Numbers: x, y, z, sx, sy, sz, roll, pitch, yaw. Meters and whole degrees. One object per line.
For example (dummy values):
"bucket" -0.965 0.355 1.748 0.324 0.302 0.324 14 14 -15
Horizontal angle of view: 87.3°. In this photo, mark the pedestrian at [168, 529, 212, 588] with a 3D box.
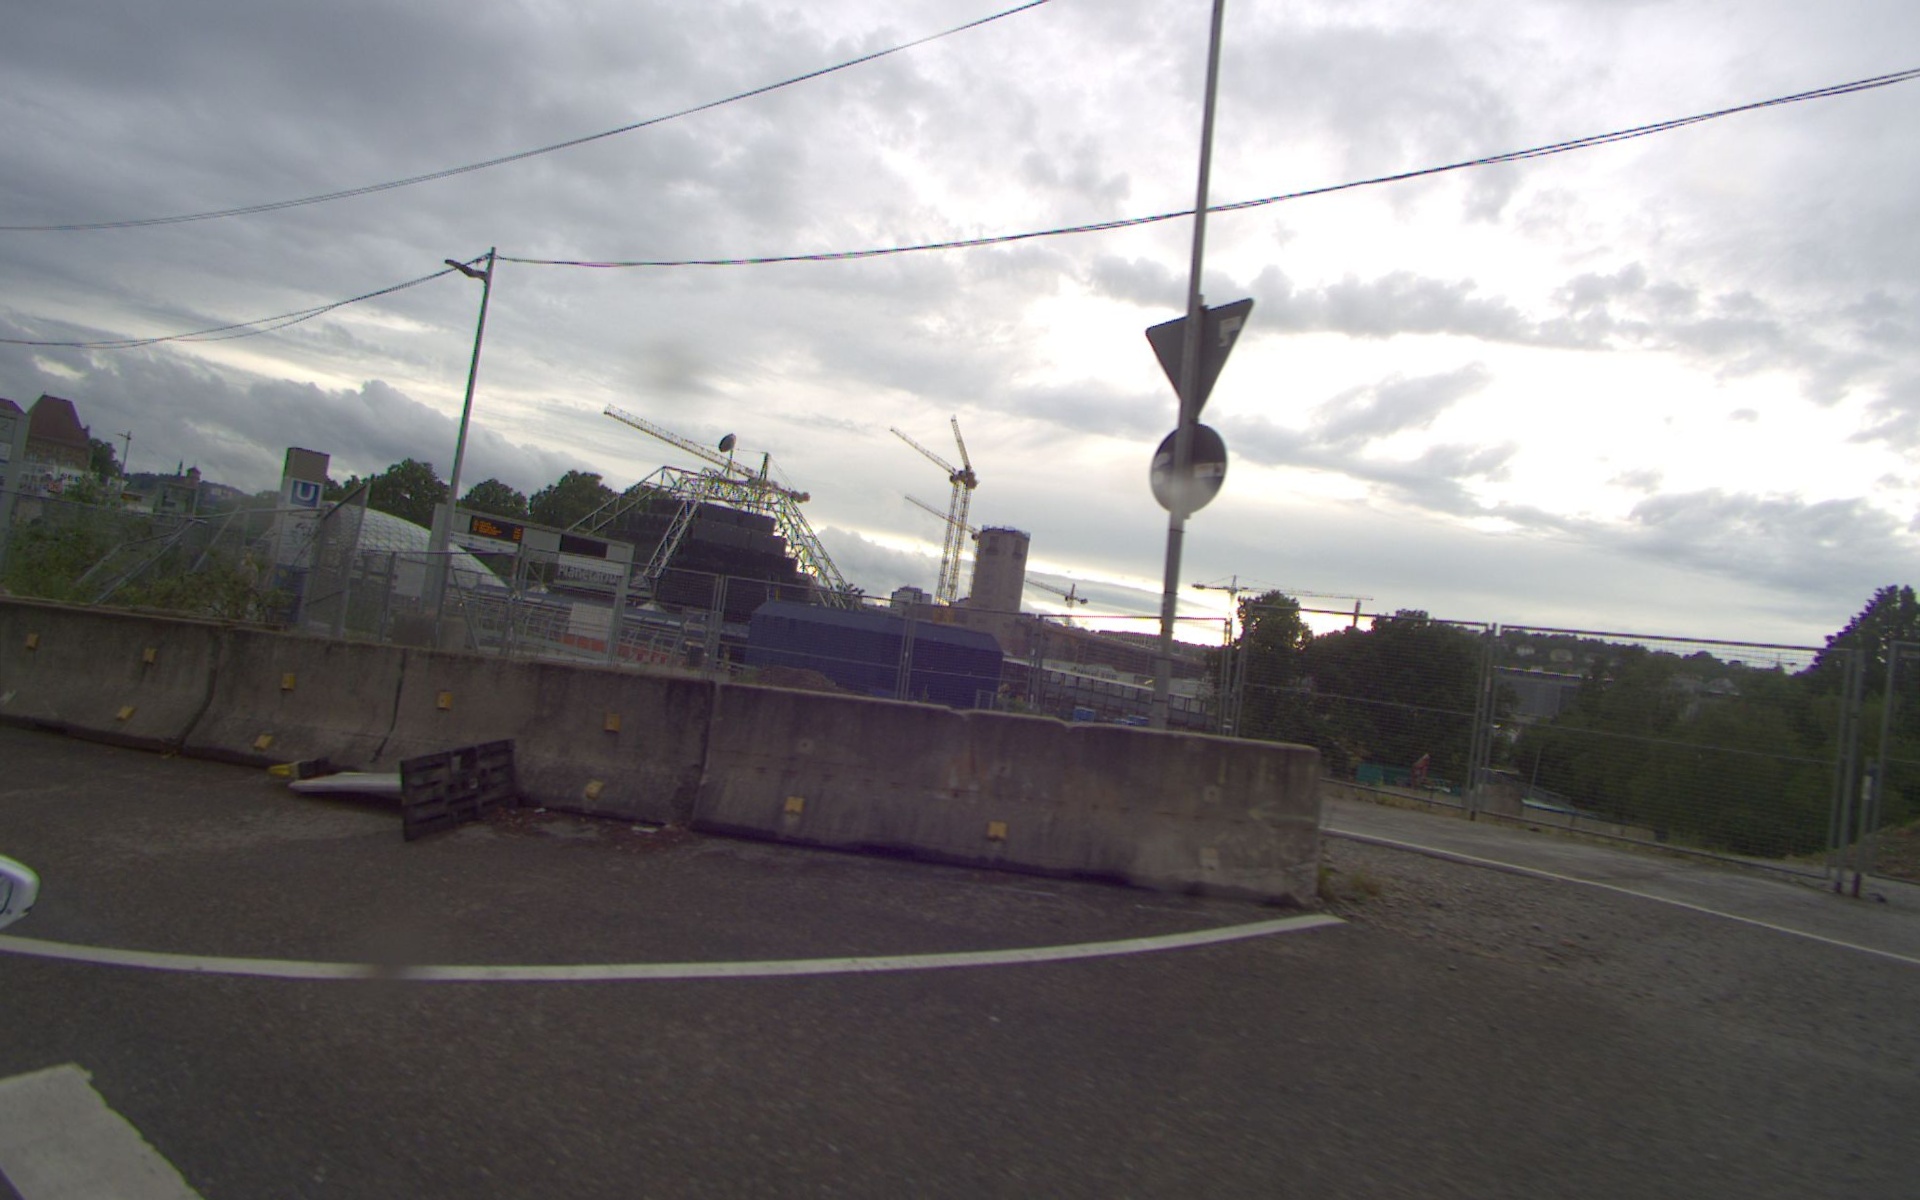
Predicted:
"pedestrian" -25.504 -1.381 33.308 1.007 1.798 0.690 7 -2 35

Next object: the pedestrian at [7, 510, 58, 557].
"pedestrian" -37.920 -2.710 41.147 0.882 1.676 1.024 8 -2 12

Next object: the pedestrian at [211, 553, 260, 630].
"pedestrian" -17.877 -0.211 24.834 0.685 1.798 0.809 9 -2 -30
